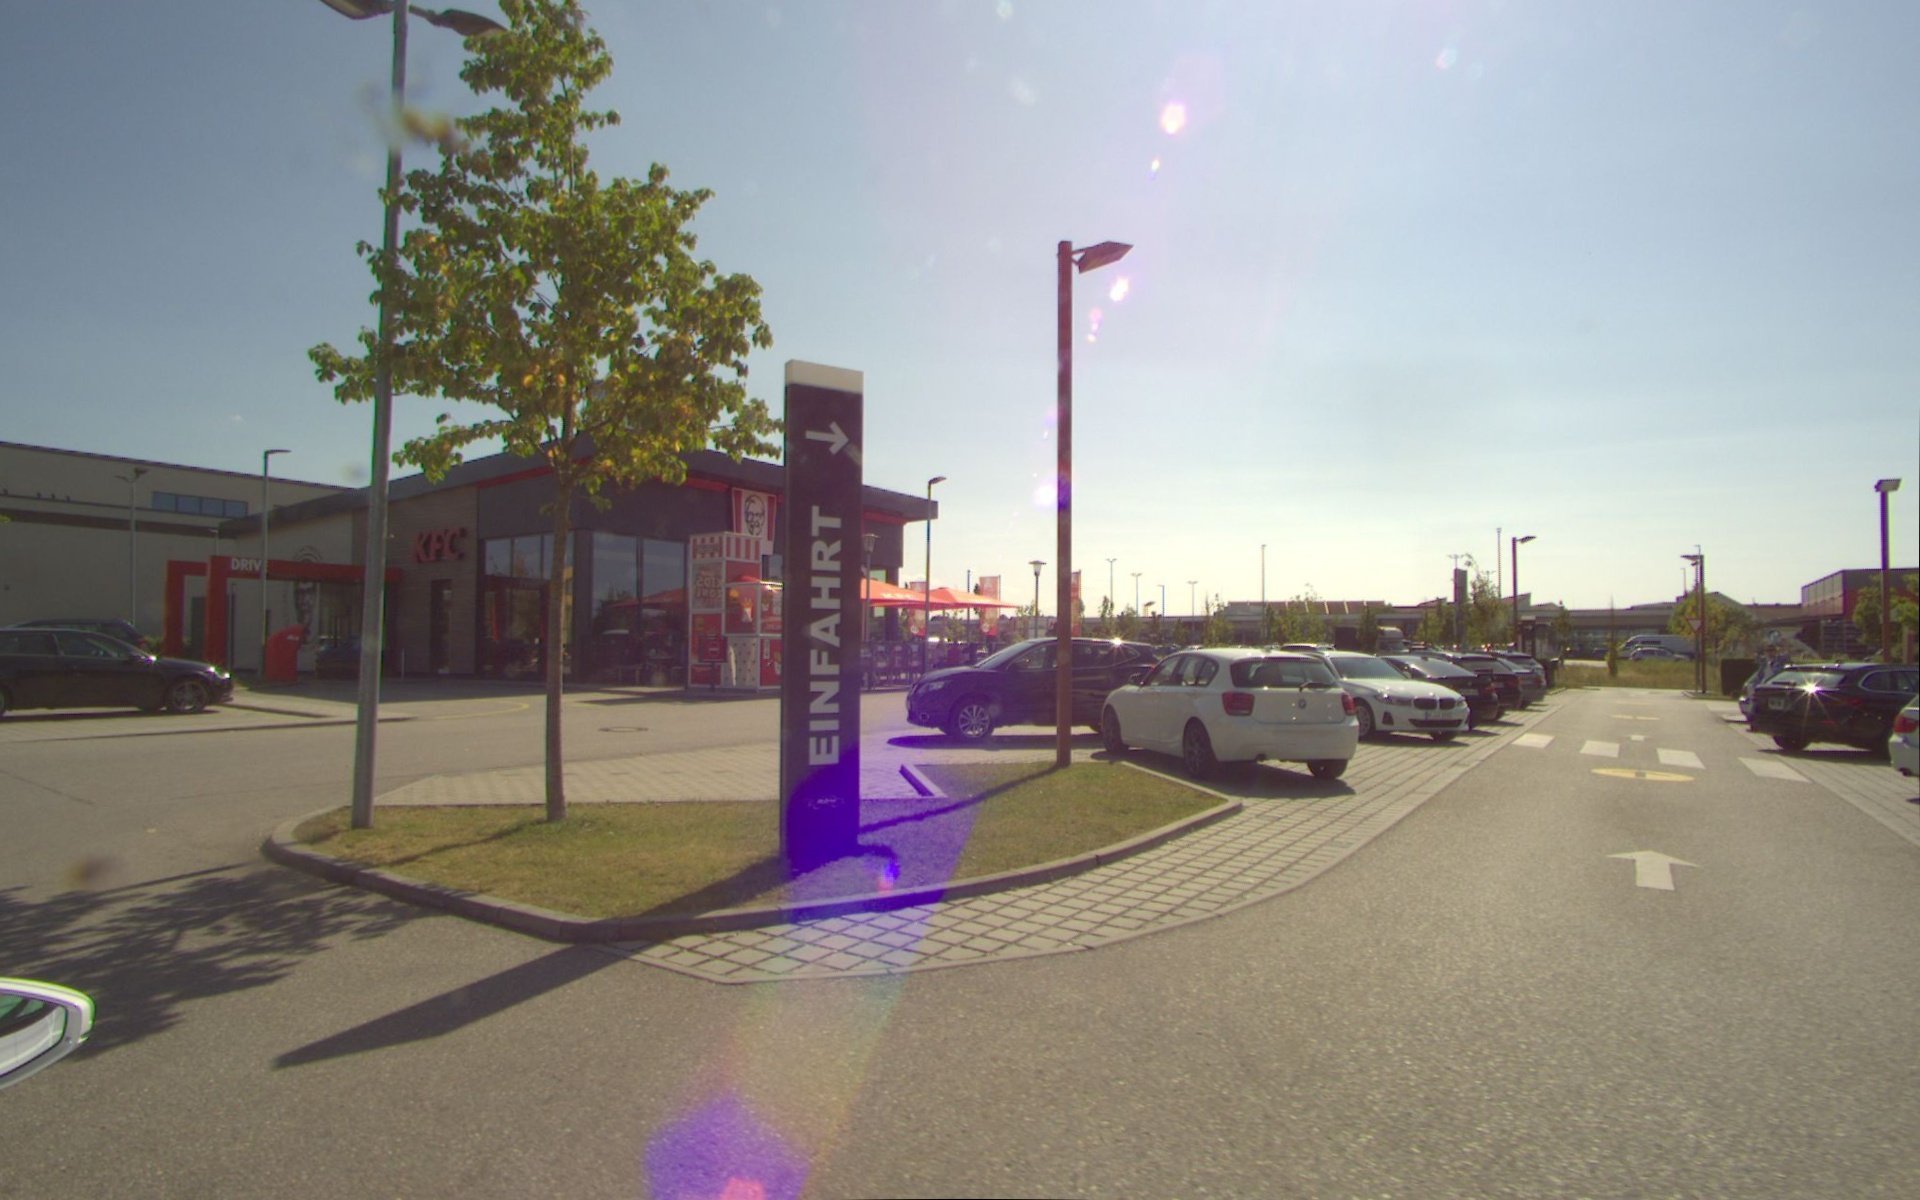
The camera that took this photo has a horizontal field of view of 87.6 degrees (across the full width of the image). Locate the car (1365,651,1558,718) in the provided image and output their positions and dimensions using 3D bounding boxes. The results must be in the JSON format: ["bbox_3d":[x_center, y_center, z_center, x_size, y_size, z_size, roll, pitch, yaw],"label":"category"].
[{"bbox_3d":[12.703,2.104,25.701,1.751,1.530,4.339,2,-3,-23],"label":"car"}]

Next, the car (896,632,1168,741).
[{"bbox_3d":[1.074,1.347,15.889,4.010,1.596,1.757,1,-2,-9],"label":"car"}]

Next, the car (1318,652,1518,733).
[{"bbox_3d":[9.091,1.799,20.277,1.786,1.420,4.000,1,-3,-9],"label":"car"}]

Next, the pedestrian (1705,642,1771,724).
[{"bbox_3d":[18.904,1.990,24.341,0.900,1.940,0.903,1,-2,0],"label":"pedestrian"}]

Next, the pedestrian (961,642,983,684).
[{"bbox_3d":[0.398,2.007,31.958,0.584,1.285,0.686,1,-2,9],"label":"pedestrian"}]

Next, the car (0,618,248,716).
[{"bbox_3d":[-14.473,1.074,16.459,1.675,1.459,4.193,0,-3,33],"label":"car"}]

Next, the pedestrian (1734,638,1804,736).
[{"bbox_3d":[16.673,1.762,20.642,0.894,1.940,1.019,3,-2,-43],"label":"pedestrian"}]

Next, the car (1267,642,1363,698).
[{"bbox_3d":[12.290,2.361,34.520,2.045,1.771,4.343,-1,-3,35],"label":"car"}]

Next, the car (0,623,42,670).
[{"bbox_3d":[-31.120,1.406,30.752,1.626,1.438,3.983,0,-3,31],"label":"car"}]

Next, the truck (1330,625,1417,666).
[{"bbox_3d":[35.814,3.930,87.109,2.383,3.394,7.545,1,-2,-22],"label":"truck"}]

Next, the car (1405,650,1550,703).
[{"bbox_3d":[16.606,2.427,32.355,1.776,1.575,4.046,2,-3,-20],"label":"car"}]

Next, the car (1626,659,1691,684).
[{"bbox_3d":[53.518,5.456,76.816,3.941,1.749,1.886,-1,-3,31],"label":"car"}]

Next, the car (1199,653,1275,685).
[{"bbox_3d":[12.886,3.180,46.385,1.866,1.415,4.125,-1,-3,40],"label":"car"}]

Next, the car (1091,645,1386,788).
[{"bbox_3d":[3.179,1.305,12.417,1.810,1.443,4.184,2,-3,-12],"label":"car"}]

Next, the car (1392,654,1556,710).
[{"bbox_3d":[14.822,2.327,29.203,1.681,1.428,4.680,1,-3,-12],"label":"car"}]

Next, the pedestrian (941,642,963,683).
[{"bbox_3d":[-0.240,1.981,32.025,0.584,1.285,0.686,1,-2,9],"label":"pedestrian"}]

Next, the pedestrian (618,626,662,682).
[{"bbox_3d":[-8.513,1.437,26.630,0.761,1.453,0.796,0,-1,31],"label":"pedestrian"}]

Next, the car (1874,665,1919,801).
[{"bbox_3d":[12.222,1.465,10.539,4.006,1.425,1.793,2,-2,-10],"label":"car"}]

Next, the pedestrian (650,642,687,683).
[{"bbox_3d":[-7.960,1.700,27.328,0.620,1.085,0.714,0,-1,31],"label":"pedestrian"}]

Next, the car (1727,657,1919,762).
[{"bbox_3d":[15.303,1.751,16.368,4.334,1.530,1.983,1,-2,-10],"label":"car"}]

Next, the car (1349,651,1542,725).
[{"bbox_3d":[11.047,1.955,23.098,1.789,1.507,3.995,2,-3,-16],"label":"car"}]

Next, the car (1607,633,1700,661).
[{"bbox_3d":[59.449,4.056,86.045,6.482,2.272,2.289,-1,-3,34],"label":"car"}]

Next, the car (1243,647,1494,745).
[{"bbox_3d":[7.065,1.619,17.888,1.880,1.490,4.468,2,-3,-14],"label":"car"}]

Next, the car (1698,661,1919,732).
[{"bbox_3d":[19.054,2.149,22.558,3.829,1.444,1.707,2,-2,-8],"label":"car"}]

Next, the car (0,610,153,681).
[{"bbox_3d":[-23.131,1.130,24.973,1.617,1.706,4.368,0,-3,29],"label":"car"}]
